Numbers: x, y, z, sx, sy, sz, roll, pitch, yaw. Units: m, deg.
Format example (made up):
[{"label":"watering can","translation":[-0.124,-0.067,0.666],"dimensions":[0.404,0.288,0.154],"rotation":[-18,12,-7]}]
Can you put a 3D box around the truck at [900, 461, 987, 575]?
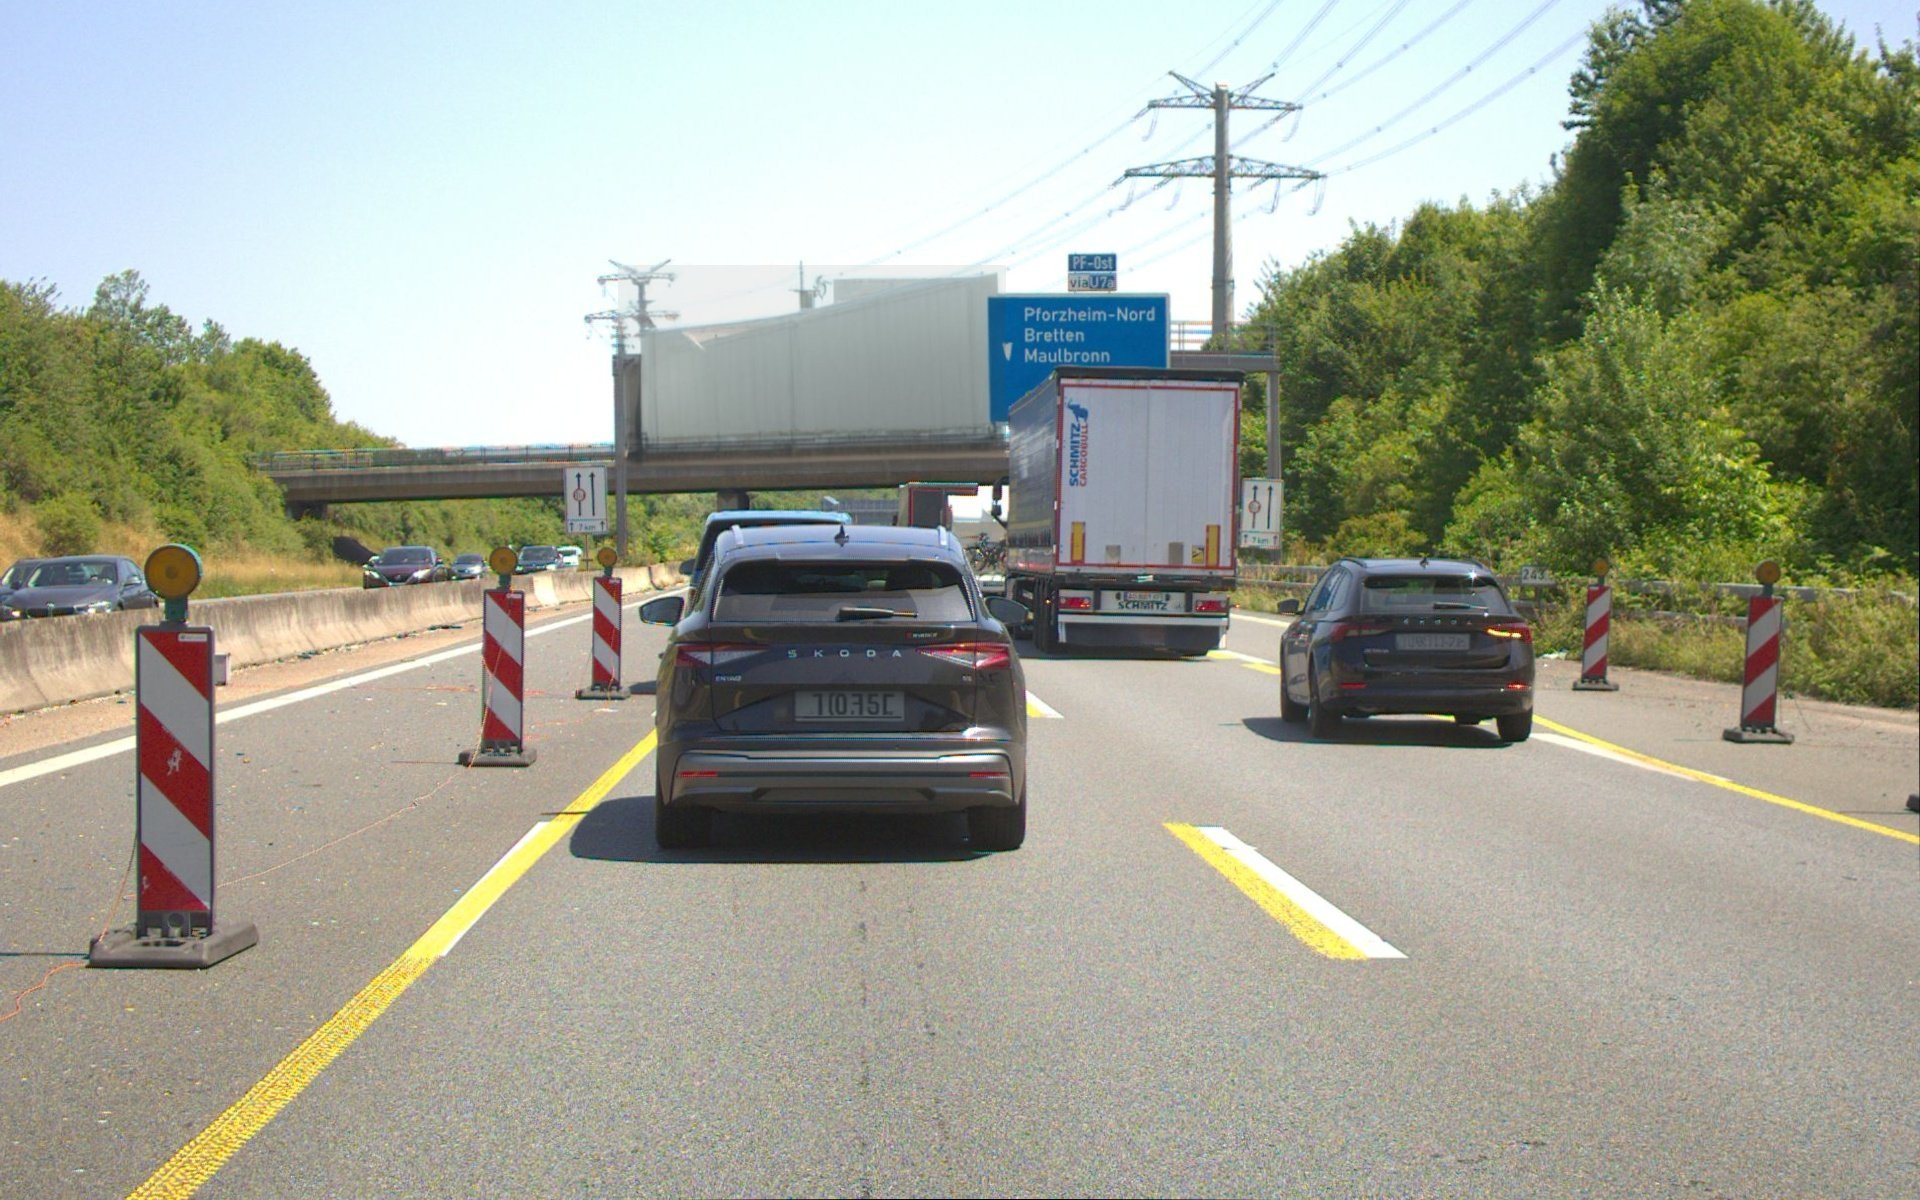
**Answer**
[{"label":"truck","translation":[-0.690,-3.107,133.066],"dimensions":[3.077,4.132,13.055],"rotation":[1,1,-1]}]

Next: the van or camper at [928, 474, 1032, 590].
[{"label":"van or camper","translation":[0.514,-1.888,95.837],"dimensions":[2.586,2.958,6.085],"rotation":[4,1,-1]}]

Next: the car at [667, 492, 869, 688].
[{"label":"car","translation":[-2.021,-0.096,36.453],"dimensions":[1.895,1.835,4.443],"rotation":[4,0,-3]}]

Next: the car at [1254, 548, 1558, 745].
[{"label":"car","translation":[3.658,0.331,28.930],"dimensions":[1.779,1.484,4.464],"rotation":[1,1,-2]}]

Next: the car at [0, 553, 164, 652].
[{"label":"car","translation":[-13.583,0.010,53.197],"dimensions":[1.616,1.437,3.990],"rotation":[-1,1,0]}]

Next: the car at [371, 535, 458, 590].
[{"label":"car","translation":[-14.986,-1.058,94.685],"dimensions":[1.848,1.455,4.489],"rotation":[-1,1,-2]}]

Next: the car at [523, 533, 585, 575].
[{"label":"car","translation":[-15.849,-1.795,134.319],"dimensions":[1.993,1.594,4.583],"rotation":[-1,1,-2]}]

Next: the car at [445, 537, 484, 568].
[{"label":"car","translation":[-25.301,-2.433,175.504],"dimensions":[1.499,1.543,4.000],"rotation":[-1,1,-1]}]

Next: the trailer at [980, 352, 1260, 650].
[{"label":"trailer","translation":[2.218,-1.455,52.667],"dimensions":[3.065,4.028,11.489],"rotation":[0,1,-3]}]

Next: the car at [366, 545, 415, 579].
[{"label":"car","translation":[-24.699,-1.665,149.160],"dimensions":[1.574,1.459,3.779],"rotation":[-1,1,-2]}]

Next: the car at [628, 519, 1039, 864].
[{"label":"car","translation":[-0.694,0.375,18.201],"dimensions":[1.895,1.586,4.443],"rotation":[1,1,-3]}]

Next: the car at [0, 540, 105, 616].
[{"label":"car","translation":[-18.746,-0.462,69.078],"dimensions":[1.993,1.455,4.587],"rotation":[-1,1,0]}]

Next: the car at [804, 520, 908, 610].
[{"label":"car","translation":[-2.063,-0.715,67.066],"dimensions":[1.895,1.504,4.443],"rotation":[3,3,-3]}]

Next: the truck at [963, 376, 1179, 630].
[{"label":"truck","translation":[1.797,-1.645,59.604],"dimensions":[3.024,4.073,7.796],"rotation":[1,1,-3]}]
